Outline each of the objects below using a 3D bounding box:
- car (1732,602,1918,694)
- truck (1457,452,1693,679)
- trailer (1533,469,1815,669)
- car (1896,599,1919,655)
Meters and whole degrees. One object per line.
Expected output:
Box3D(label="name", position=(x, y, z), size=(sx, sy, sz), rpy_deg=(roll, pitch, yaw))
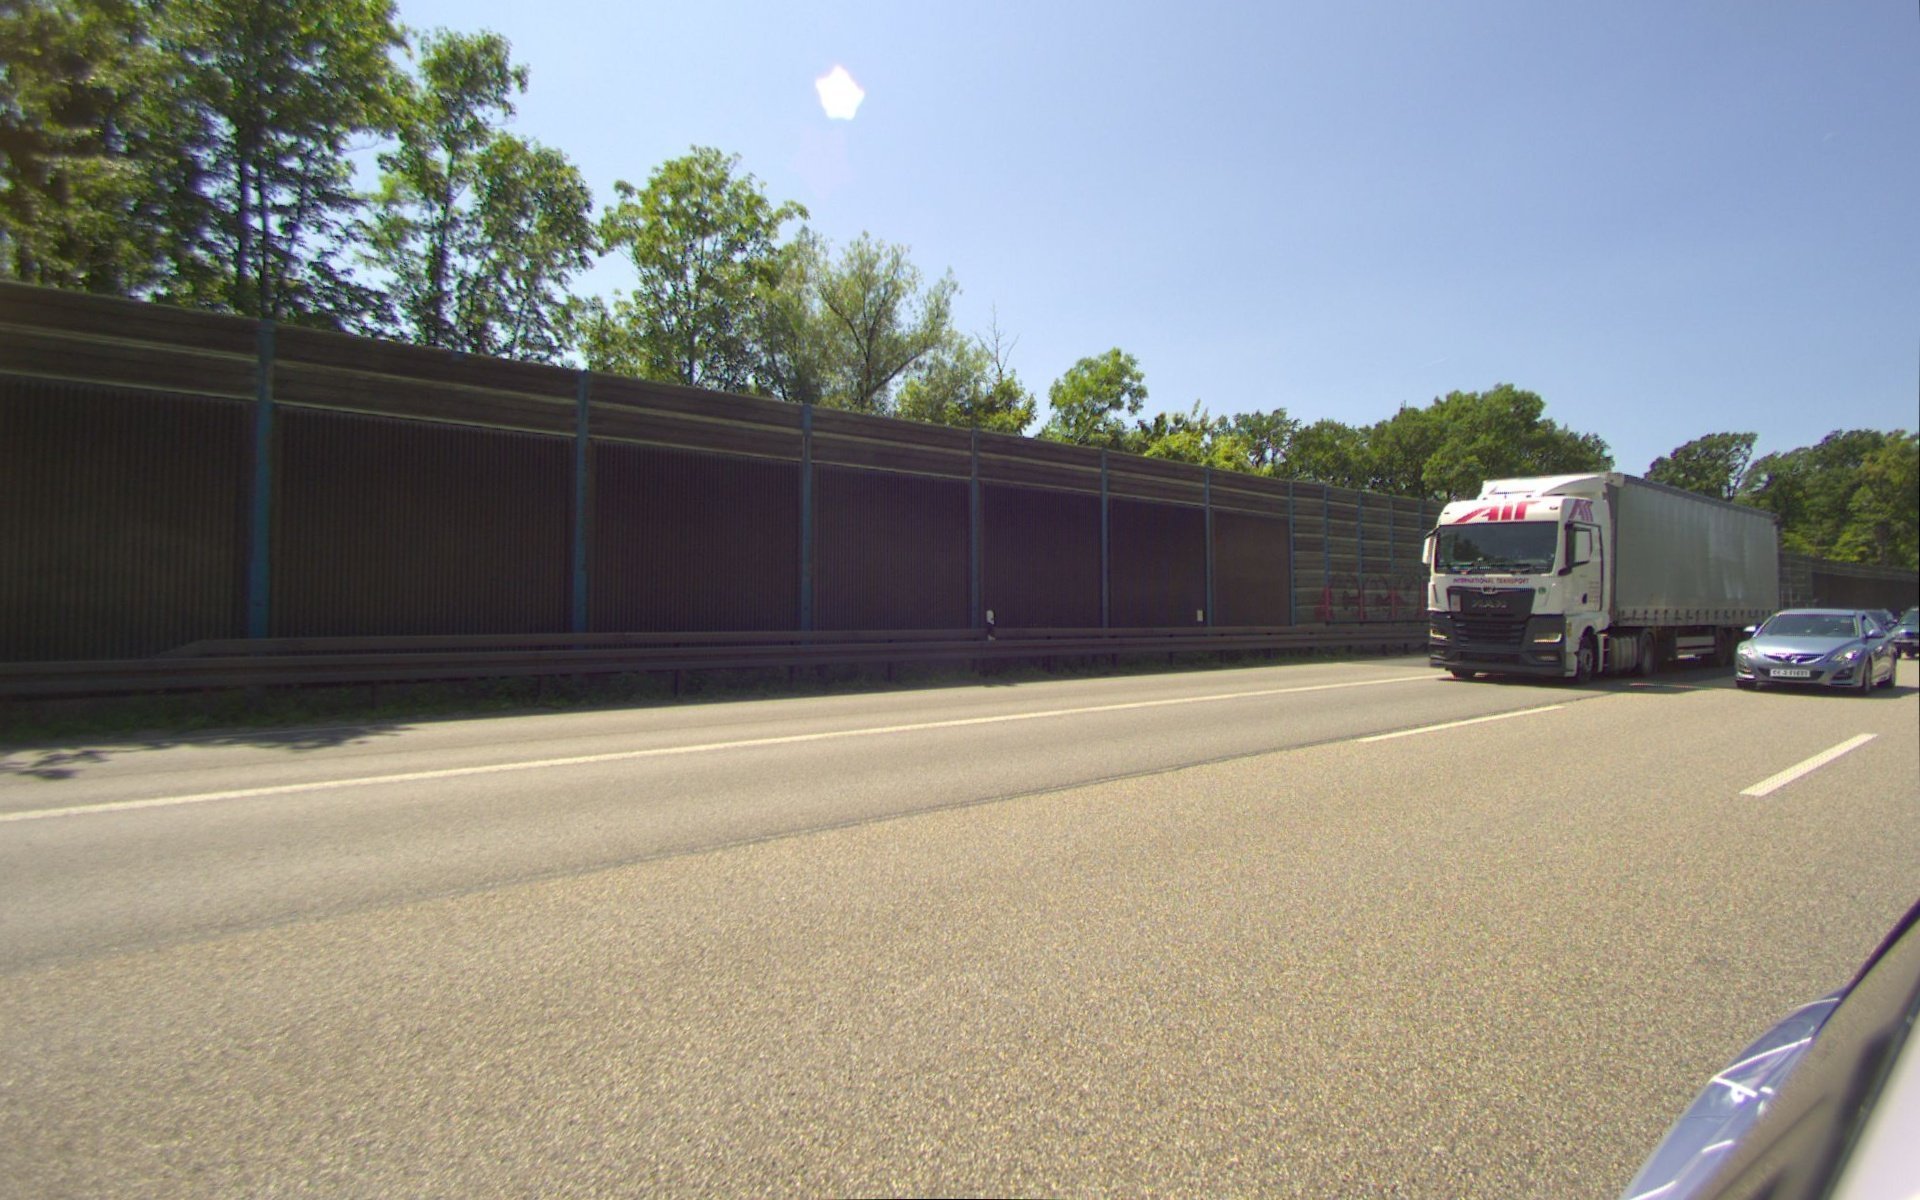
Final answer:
Box3D(label="car", position=(15.483, 0.774, 18.053), size=(4.101, 1.452, 1.860), rpy_deg=(1, -1, -40))
Box3D(label="truck", position=(12.976, -0.648, 21.206), size=(5.453, 4.142, 2.604), rpy_deg=(0, 0, -40))
Box3D(label="trailer", position=(18.959, -0.664, 26.214), size=(13.348, 4.142, 2.603), rpy_deg=(0, 0, -40))
Box3D(label="car", position=(29.106, 0.790, 29.580), size=(3.926, 1.579, 1.908), rpy_deg=(1, -1, -37))
